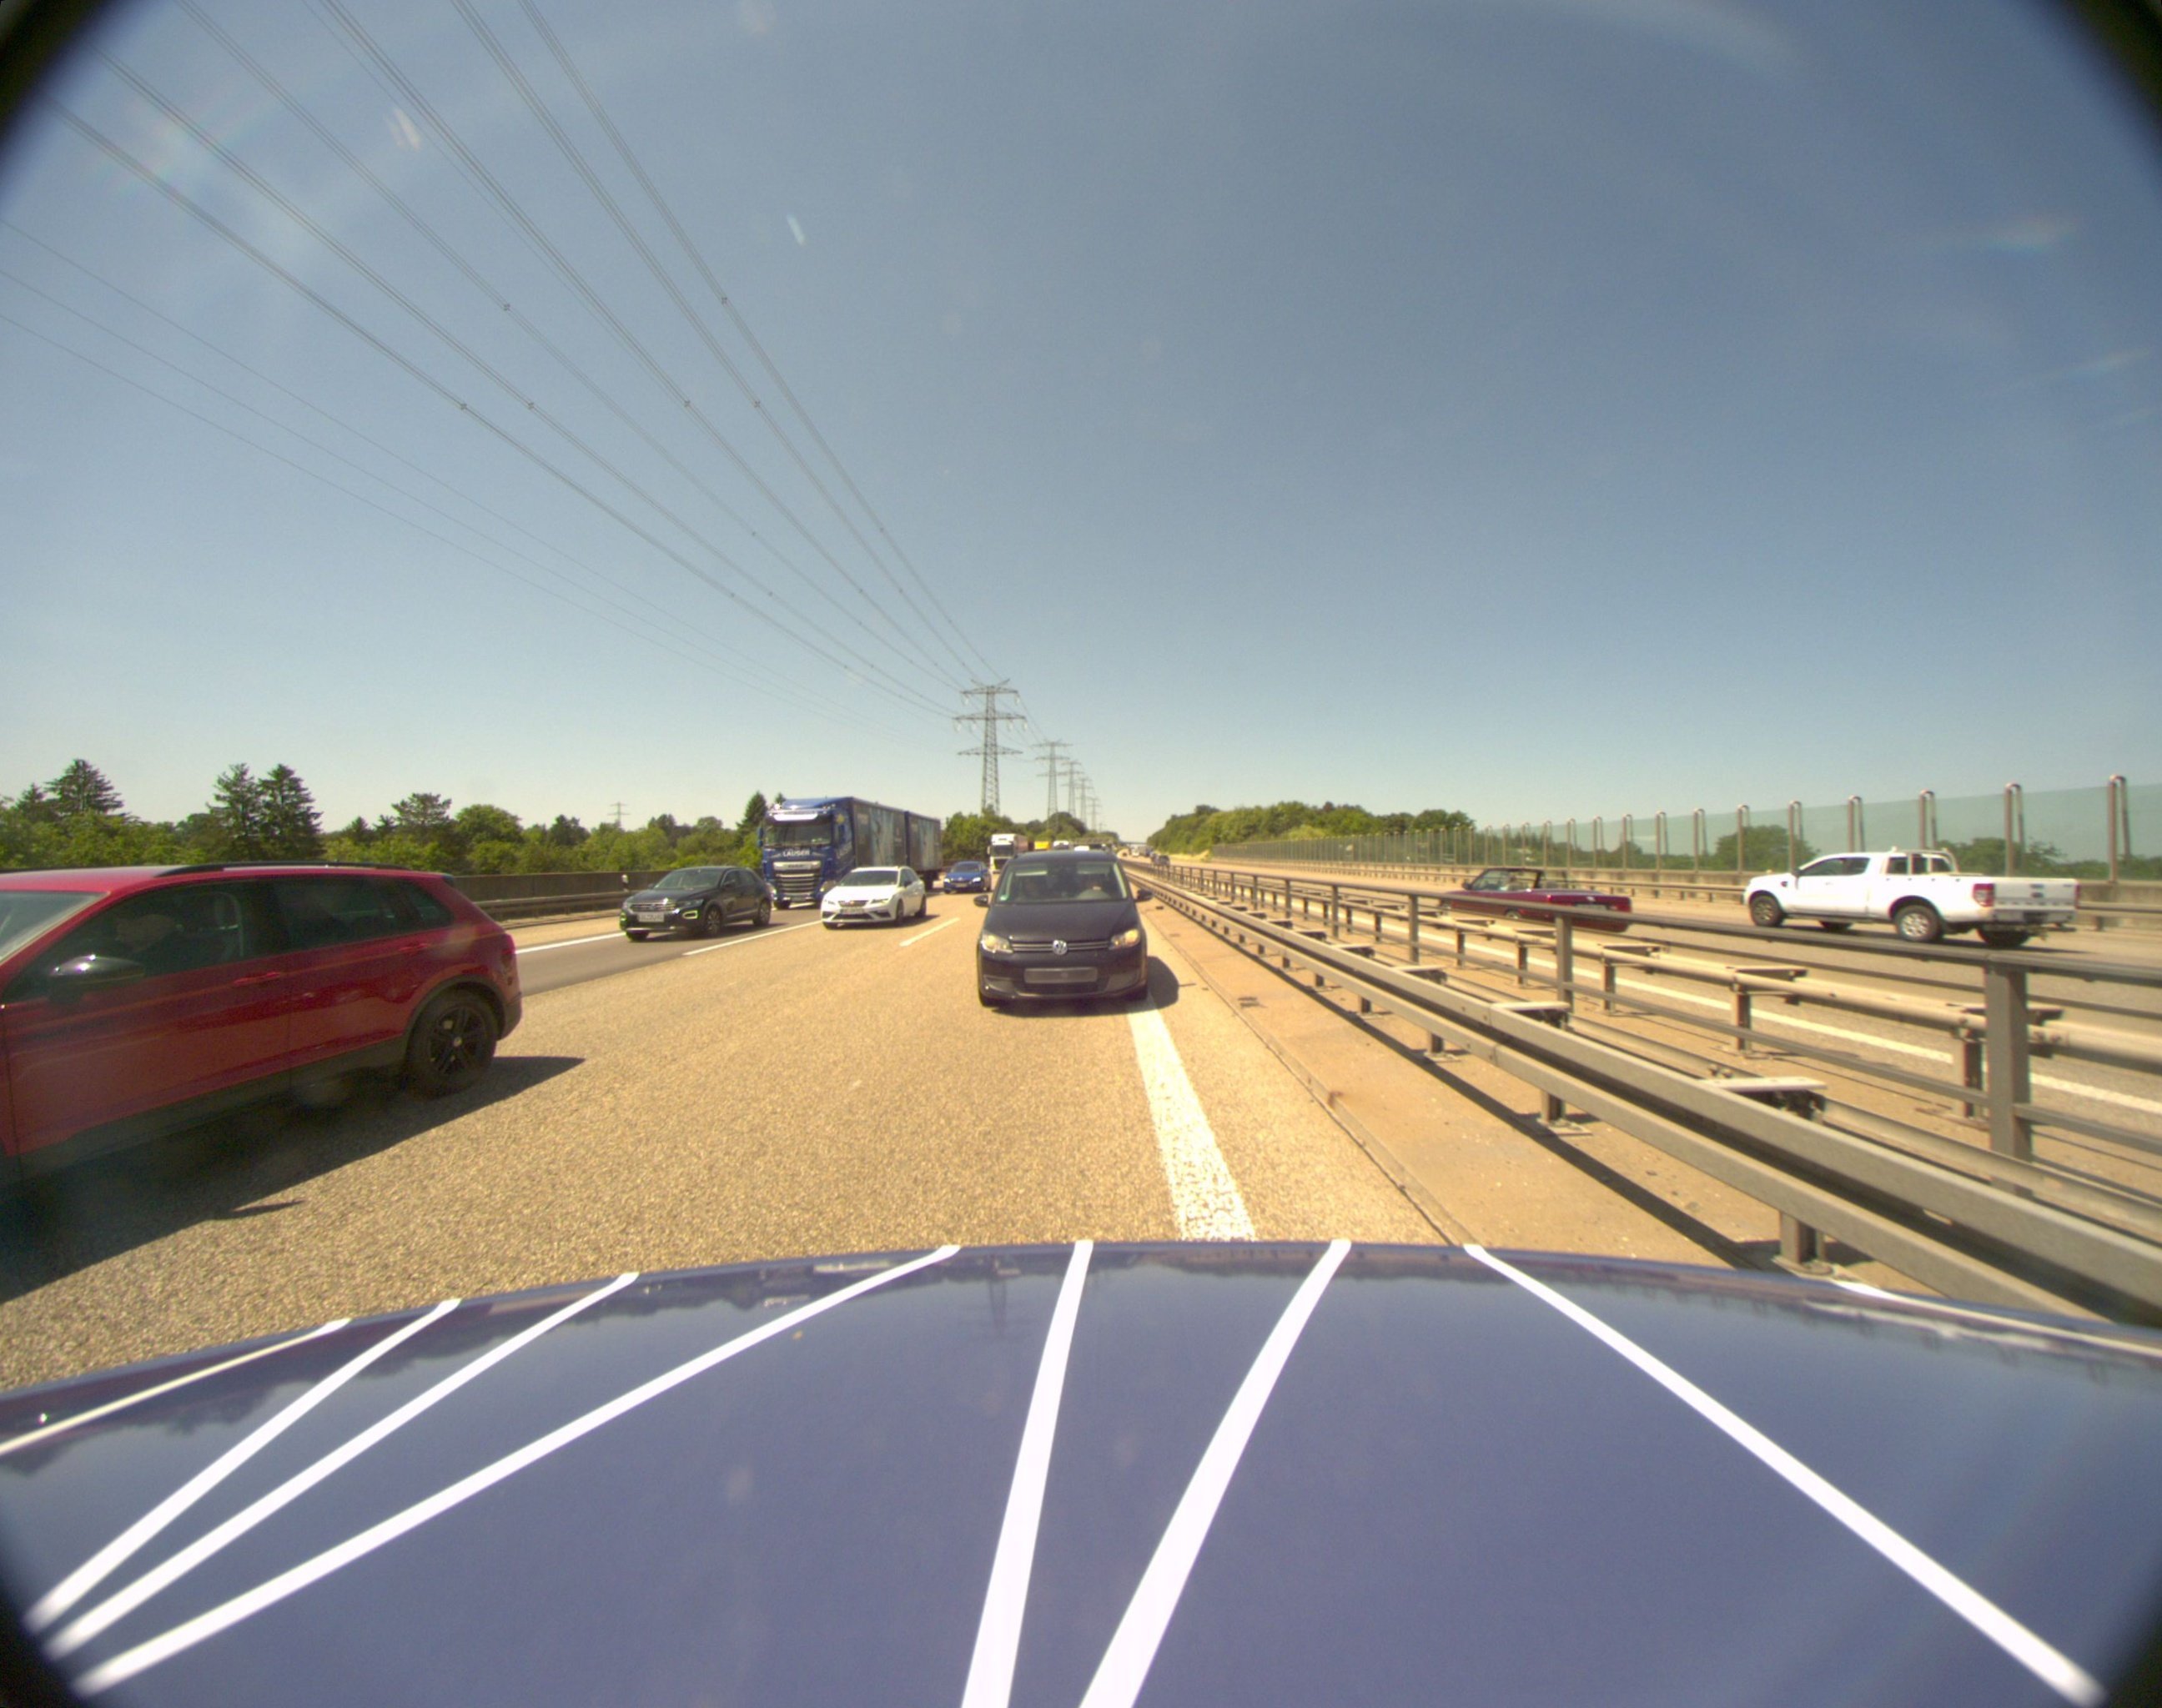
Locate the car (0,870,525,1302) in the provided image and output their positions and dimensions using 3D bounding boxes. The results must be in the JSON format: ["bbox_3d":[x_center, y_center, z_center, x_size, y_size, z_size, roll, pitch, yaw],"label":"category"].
[{"bbox_3d":[-5.213,0.979,3.734,1.779,1.652,4.224,-2,0,0],"label":"car"}]

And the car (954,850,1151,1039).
[{"bbox_3d":[-0.248,0.820,8.952,1.740,1.652,3.999,-2,1,0],"label":"car"}]

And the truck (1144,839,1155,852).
[{"bbox_3d":[23.128,-2.866,256.628,2.876,4.062,9.988,1,1,2],"label":"truck"}]

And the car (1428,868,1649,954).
[{"bbox_3d":[8.435,0.965,14.536,1.601,1.310,4.341,1,0,0],"label":"car"}]

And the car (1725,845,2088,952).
[{"bbox_3d":[17.028,0.794,16.252,1.998,1.874,5.255,1,0,0],"label":"car"}]

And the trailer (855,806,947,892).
[{"bbox_3d":[-9.126,-0.242,39.657,2.572,3.921,8.479,-2,0,1],"label":"trailer"}]

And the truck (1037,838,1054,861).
[{"bbox_3d":[-6.311,-0.840,137.179,2.346,4.058,8.278,-2,1,1],"label":"truck"}]

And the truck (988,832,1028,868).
[{"bbox_3d":[-7.793,-0.470,82.252,2.985,3.538,10.967,-2,1,1],"label":"truck"}]

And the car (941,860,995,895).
[{"bbox_3d":[-5.266,1.065,35.827,1.739,1.437,4.210,-2,0,2],"label":"car"}]

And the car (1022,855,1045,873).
[{"bbox_3d":[-4.219,0.862,67.456,1.763,1.495,4.094,-2,0,0],"label":"car"}]

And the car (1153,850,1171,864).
[{"bbox_3d":[10.213,0.374,96.139,1.810,1.618,4.477,-2,0,0],"label":"car"}]

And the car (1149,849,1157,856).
[{"bbox_3d":[21.457,-0.351,226.377,1.998,2.002,4.000,-1,0,1],"label":"car"}]

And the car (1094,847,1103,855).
[{"bbox_3d":[4.256,-0.771,186.284,1.998,2.002,4.000,-2,1,1],"label":"car"}]

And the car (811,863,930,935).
[{"bbox_3d":[-5.097,1.030,19.011,1.843,1.481,4.071,-2,0,-1],"label":"car"}]

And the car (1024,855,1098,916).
[{"bbox_3d":[-0.492,0.808,21.589,1.845,1.495,4.377,-1,0,1],"label":"car"}]

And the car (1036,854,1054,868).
[{"bbox_3d":[-3.881,0.740,82.520,1.763,1.495,4.094,-1,0,0],"label":"car"}]

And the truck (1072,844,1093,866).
[{"bbox_3d":[0.255,0.105,88.625,2.284,2.479,5.861,-2,1,1],"label":"truck"}]

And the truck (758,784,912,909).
[{"bbox_3d":[-9.226,-0.266,30.171,2.529,4.043,10.446,-1,0,1],"label":"truck"}]

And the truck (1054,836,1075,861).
[{"bbox_3d":[-2.651,-0.981,125.975,2.980,3.832,10.561,-2,1,1],"label":"truck"}]

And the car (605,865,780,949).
[{"bbox_3d":[-8.579,1.097,17.241,1.740,1.518,4.106,-2,0,1],"label":"car"}]

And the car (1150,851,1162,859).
[{"bbox_3d":[15.333,0.137,155.006,1.999,1.662,4.186,1,0,0],"label":"car"}]

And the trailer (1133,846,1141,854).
[{"bbox_3d":[19.171,-1.426,262.569,2.322,2.690,6.361,1,0,1],"label":"trailer"}]
